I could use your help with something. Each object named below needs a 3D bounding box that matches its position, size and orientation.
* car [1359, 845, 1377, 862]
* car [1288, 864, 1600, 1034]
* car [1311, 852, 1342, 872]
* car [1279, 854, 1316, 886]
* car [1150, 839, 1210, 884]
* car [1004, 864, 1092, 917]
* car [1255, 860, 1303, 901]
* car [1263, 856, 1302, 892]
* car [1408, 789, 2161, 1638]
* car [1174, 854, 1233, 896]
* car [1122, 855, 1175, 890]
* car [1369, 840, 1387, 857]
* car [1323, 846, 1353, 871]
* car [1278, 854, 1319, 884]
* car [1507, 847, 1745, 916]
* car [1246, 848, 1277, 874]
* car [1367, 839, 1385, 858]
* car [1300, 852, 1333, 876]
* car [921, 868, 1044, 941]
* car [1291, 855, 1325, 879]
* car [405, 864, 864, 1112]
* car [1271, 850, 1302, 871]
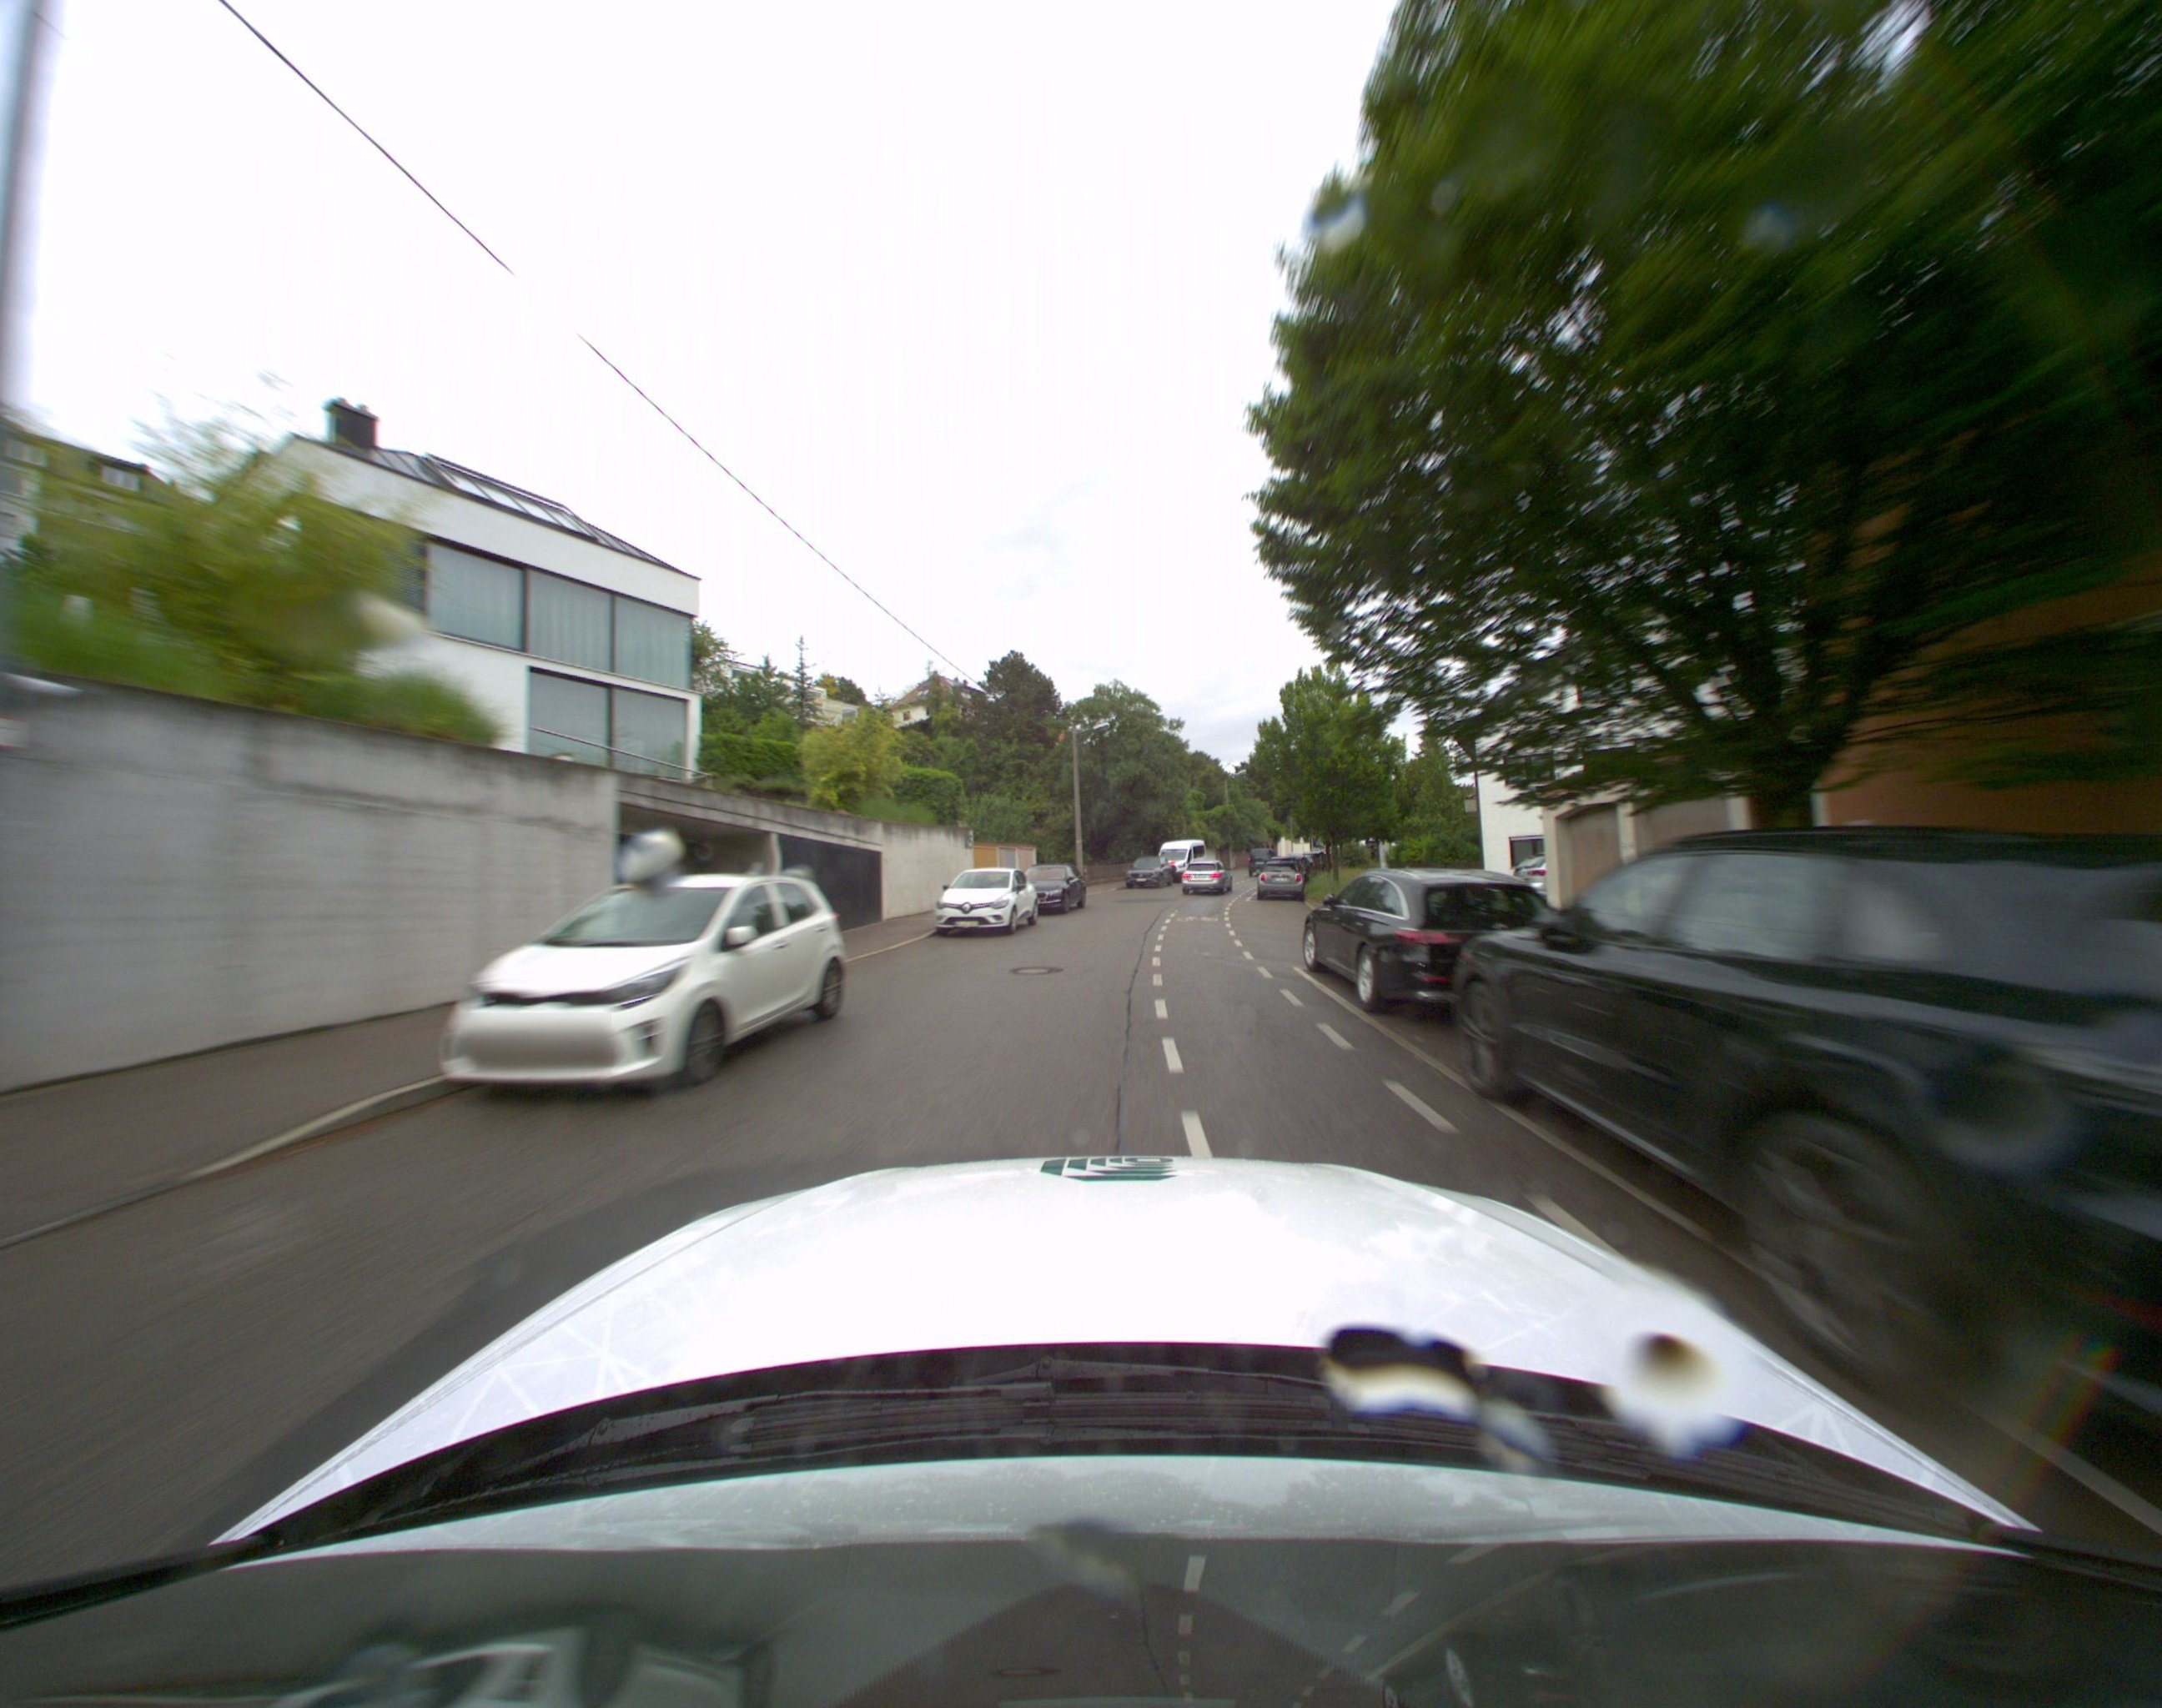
[{"bbox_3d":[31.921,-0.112,90.559,1.765,1.783,4.703,-2,0,21],"label":"car"},{"bbox_3d":[3.897,0.878,9.840,1.853,1.469,5.062,1,0,4],"label":"car"},{"bbox_3d":[18.743,0.589,62.011,1.633,1.481,4.043,-1,0,26],"label":"car"},{"bbox_3d":[10.998,0.785,41.279,1.641,1.519,4.018,0,0,17],"label":"car"},{"bbox_3d":[6.207,0.417,50.540,2.076,2.550,6.130,-2,0,22],"label":"car"},{"bbox_3d":[-0.930,1.083,25.686,1.702,1.459,4.696,-2,-1,11],"label":"car"},{"bbox_3d":[7.604,0.962,31.137,1.656,1.471,3.724,0,0,15],"label":"car"},{"bbox_3d":[9.424,0.903,37.943,1.614,1.563,3.035,-1,0,16],"label":"car"},{"bbox_3d":[3.426,0.699,4.048,2.043,1.656,5.246,-1,-1,7],"label":"car"},{"bbox_3d":[5.433,0.881,35.751,2.010,1.708,4.233,-1,-1,16],"label":"car"},{"bbox_3d":[3.668,0.946,43.315,1.881,1.691,4.565,-2,-1,16],"label":"car"},{"bbox_3d":[37.482,-0.740,102.705,1.976,2.052,5.148,-1,0,21],"label":"car"},{"bbox_3d":[21.061,0.348,66.617,1.762,1.852,4.450,-1,1,24],"label":"car"},{"bbox_3d":[12.345,0.810,46.096,1.761,1.553,4.752,0,0,21],"label":"car"},{"bbox_3d":[12.588,0.628,19.137,4.271,1.465,1.942,1,-2,14],"label":"car"},{"bbox_3d":[12.268,0.487,55.538,1.981,1.708,4.012,-1,-1,11],"label":"car"},{"bbox_3d":[39.862,-0.777,109.964,2.155,2.492,6.066,0,1,22],"label":"car"},{"bbox_3d":[16.544,0.663,57.097,1.699,1.556,4.187,0,1,24],"label":"car"},{"bbox_3d":[-2.163,1.086,19.012,1.822,1.440,4.049,-2,-1,8],"label":"car"},{"bbox_3d":[14.542,0.816,52.122,1.628,1.424,4.311,0,0,22],"label":"car"},{"bbox_3d":[-3.380,0.888,7.114,1.619,1.516,3.837,-2,0,5],"label":"car"},{"bbox_3d":[17.599,0.590,69.699,1.976,1.708,4.022,-1,-1,23],"label":"car"}]
